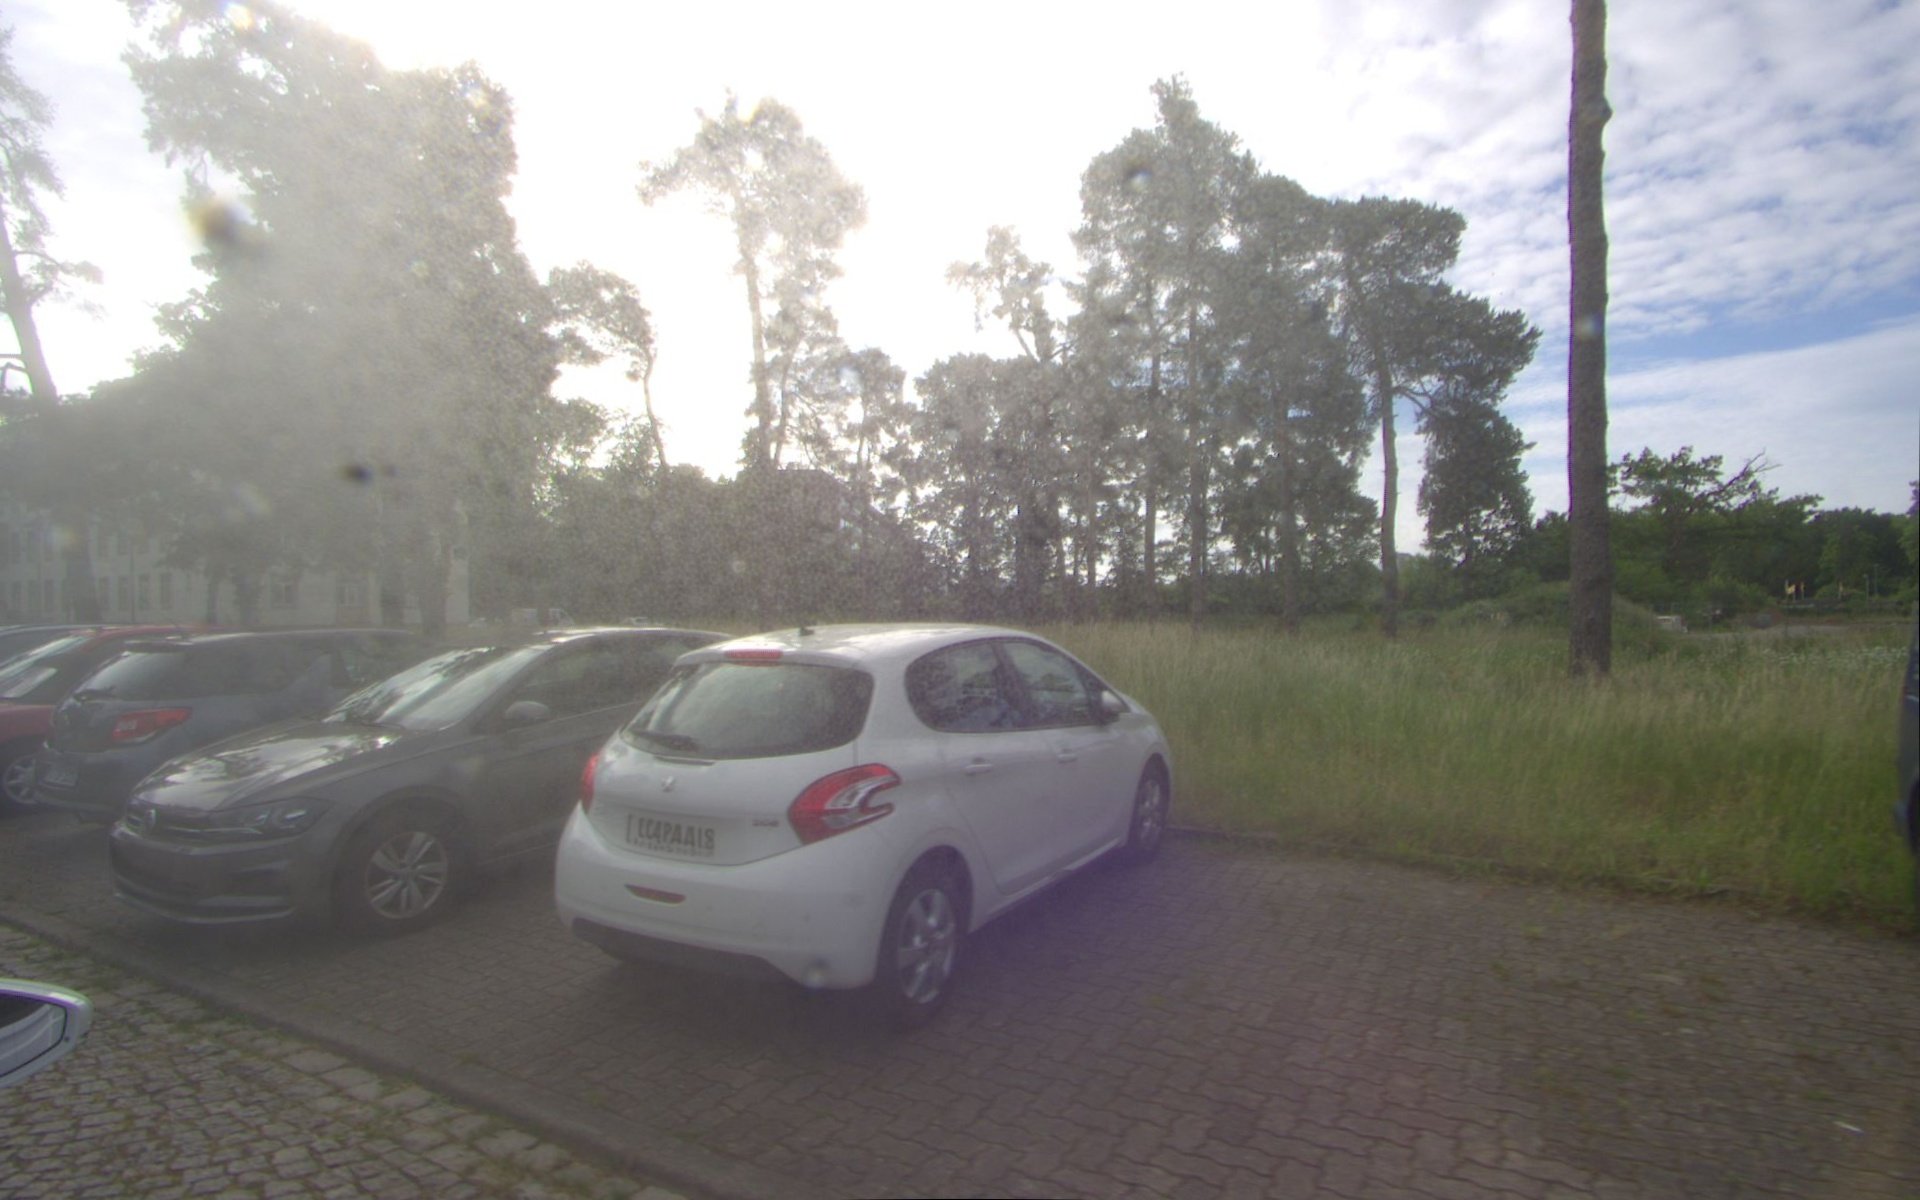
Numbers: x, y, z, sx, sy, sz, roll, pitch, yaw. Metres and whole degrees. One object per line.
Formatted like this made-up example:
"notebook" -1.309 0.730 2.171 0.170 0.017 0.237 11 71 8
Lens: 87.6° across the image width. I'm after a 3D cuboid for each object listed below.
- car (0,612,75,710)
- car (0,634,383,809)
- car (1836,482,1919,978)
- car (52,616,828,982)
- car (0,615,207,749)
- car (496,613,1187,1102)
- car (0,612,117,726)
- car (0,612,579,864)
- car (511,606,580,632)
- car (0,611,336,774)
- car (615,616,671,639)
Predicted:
"car" -15.778 0.936 14.512 1.606 1.483 4.135 0 0 24
"car" -7.493 0.990 9.106 1.604 1.239 3.580 0 0 31
"car" 4.175 0.527 2.473 1.936 2.030 4.791 0 0 28
"car" -2.803 0.866 6.407 1.739 1.466 4.124 0 0 30
"car" -11.455 0.930 11.512 1.725 1.456 4.187 0 0 23
"car" -0.212 0.838 5.177 1.739 1.498 3.648 0 0 29
"car" -13.802 0.928 12.897 1.679 1.499 4.234 0 0 19
"car" -5.096 0.868 8.089 1.716 1.507 3.501 0 0 29
"car" -35.473 1.661 85.822 2.074 2.045 5.295 -1 -2 30
"car" -9.241 0.887 10.700 1.658 1.496 4.101 0 0 28
"car" -25.761 2.273 81.522 1.872 1.826 4.128 -1 -2 32
